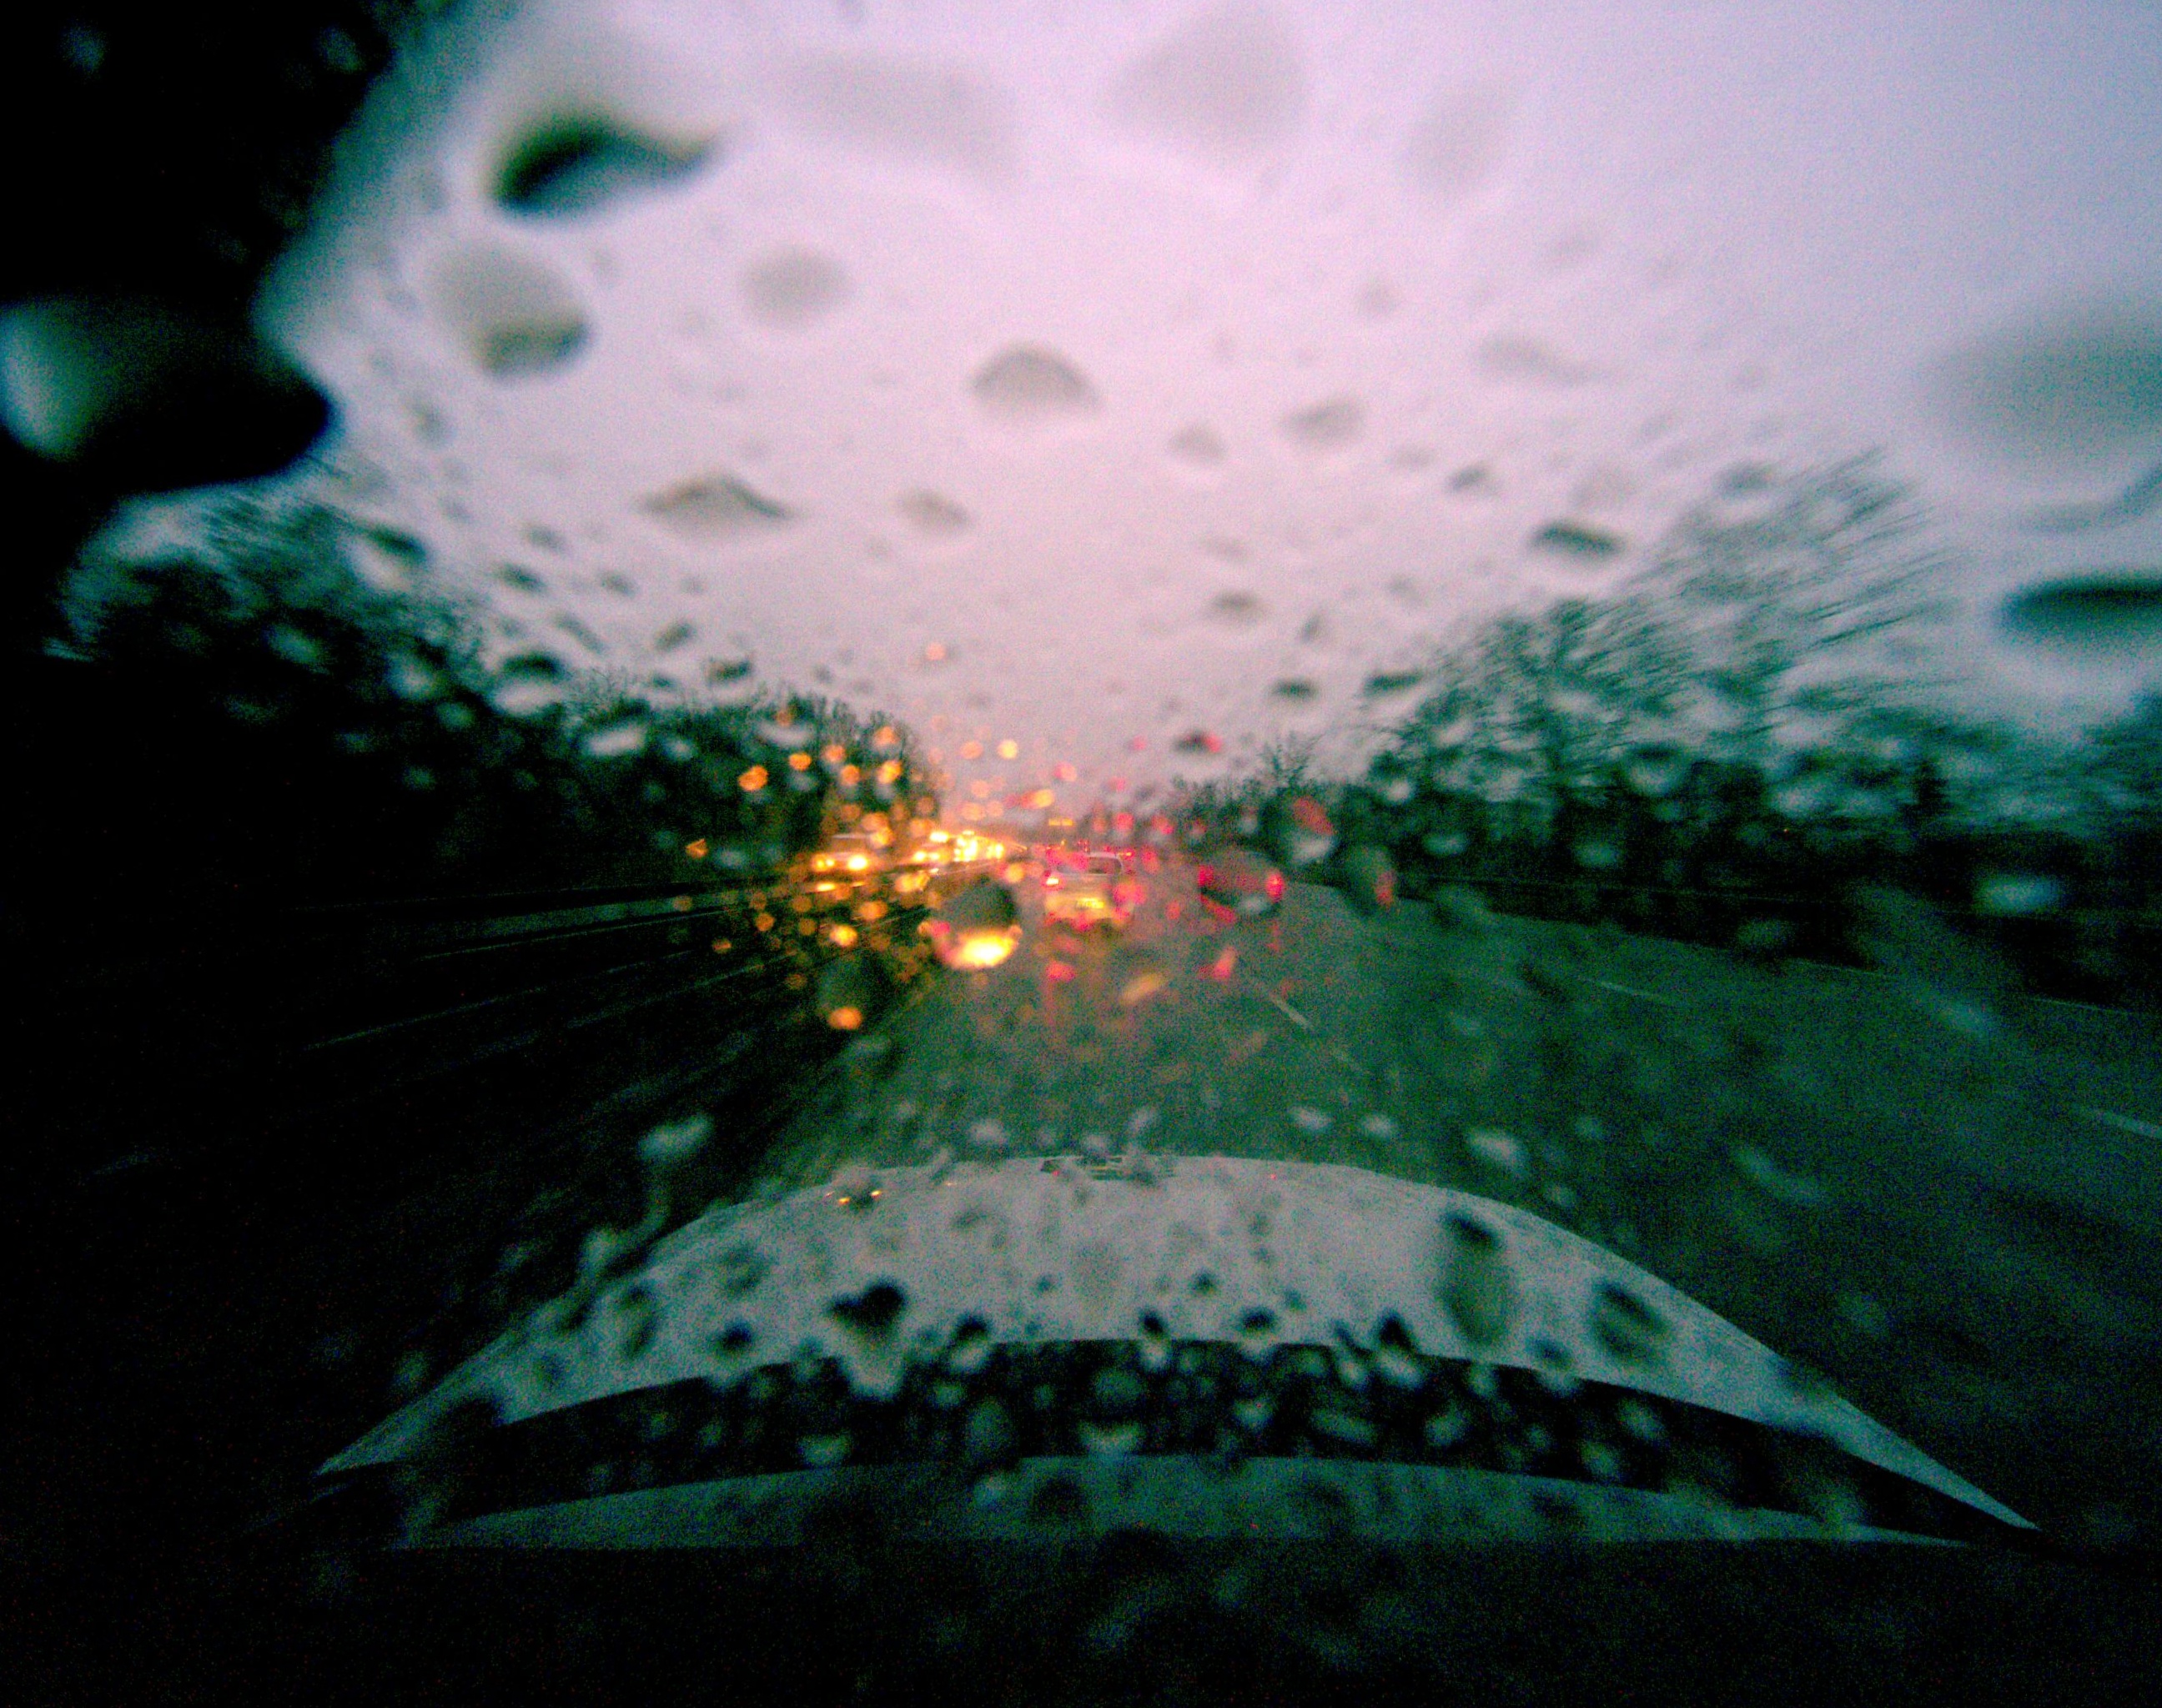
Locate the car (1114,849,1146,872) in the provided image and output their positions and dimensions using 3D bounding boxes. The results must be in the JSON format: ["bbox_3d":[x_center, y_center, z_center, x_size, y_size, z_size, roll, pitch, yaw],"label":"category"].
[{"bbox_3d":[4.025,0.579,67.304,1.931,1.546,3.764,-4,-3,-7],"label":"car"}]

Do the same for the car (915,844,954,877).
[{"bbox_3d":[-11.891,0.491,66.414,2.139,2.468,5.139,3,0,-1],"label":"car"}]

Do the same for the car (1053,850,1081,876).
[{"bbox_3d":[-1.163,0.753,66.140,1.990,2.014,3.994,1,-1,-4],"label":"car"}]

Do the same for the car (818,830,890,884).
[{"bbox_3d":[-11.226,0.191,40.719,2.139,2.468,5.139,1,-1,-1],"label":"car"}]

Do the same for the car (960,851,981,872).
[{"bbox_3d":[-13.821,0.909,102.148,2.141,2.468,5.135,1,0,-4],"label":"car"}]

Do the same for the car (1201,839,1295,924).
[{"bbox_3d":[4.325,0.696,21.607,1.924,2.019,3.777,1,-1,4],"label":"car"}]

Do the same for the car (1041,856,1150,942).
[{"bbox_3d":[0.329,0.873,17.249,2.017,1.575,4.001,1,-1,2],"label":"car"}]
